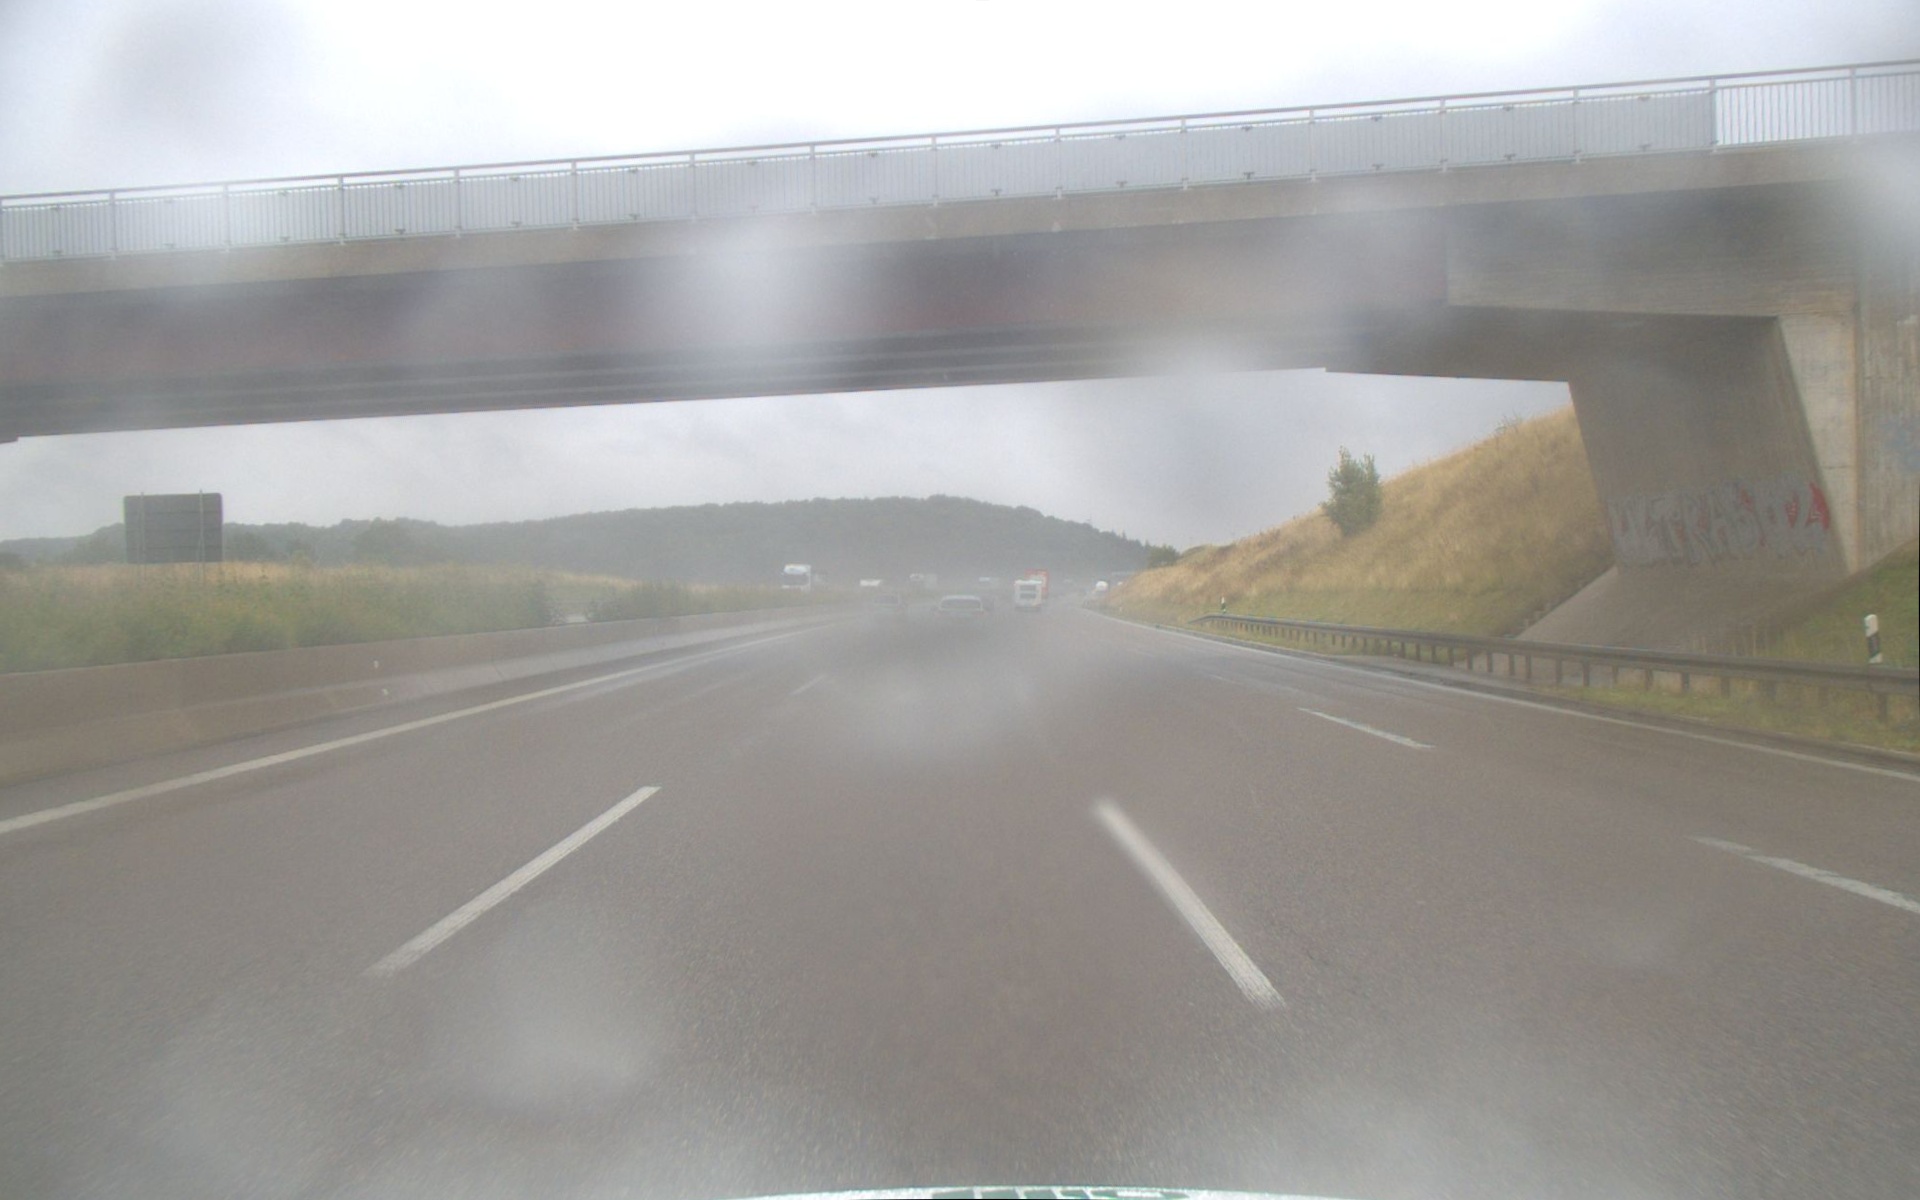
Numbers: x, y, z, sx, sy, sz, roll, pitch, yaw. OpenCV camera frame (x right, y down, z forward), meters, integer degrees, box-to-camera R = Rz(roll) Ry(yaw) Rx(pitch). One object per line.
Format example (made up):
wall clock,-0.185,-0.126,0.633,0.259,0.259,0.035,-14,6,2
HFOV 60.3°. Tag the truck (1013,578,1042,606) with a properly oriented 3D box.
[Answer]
truck,5.626,-0.655,136.652,2.357,2.291,4.694,0,0,3

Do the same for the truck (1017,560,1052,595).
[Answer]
truck,8.317,-2.544,186.354,3.455,3.808,11.427,1,1,0

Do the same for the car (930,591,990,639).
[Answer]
car,-0.037,0.486,53.366,1.830,1.488,3.999,0,0,-2

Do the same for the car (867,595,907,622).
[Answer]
car,-3.401,0.409,76.626,1.787,1.177,4.210,1,-1,-3

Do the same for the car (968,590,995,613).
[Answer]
car,1.567,0.109,120.314,1.952,1.646,4.000,0,0,1
